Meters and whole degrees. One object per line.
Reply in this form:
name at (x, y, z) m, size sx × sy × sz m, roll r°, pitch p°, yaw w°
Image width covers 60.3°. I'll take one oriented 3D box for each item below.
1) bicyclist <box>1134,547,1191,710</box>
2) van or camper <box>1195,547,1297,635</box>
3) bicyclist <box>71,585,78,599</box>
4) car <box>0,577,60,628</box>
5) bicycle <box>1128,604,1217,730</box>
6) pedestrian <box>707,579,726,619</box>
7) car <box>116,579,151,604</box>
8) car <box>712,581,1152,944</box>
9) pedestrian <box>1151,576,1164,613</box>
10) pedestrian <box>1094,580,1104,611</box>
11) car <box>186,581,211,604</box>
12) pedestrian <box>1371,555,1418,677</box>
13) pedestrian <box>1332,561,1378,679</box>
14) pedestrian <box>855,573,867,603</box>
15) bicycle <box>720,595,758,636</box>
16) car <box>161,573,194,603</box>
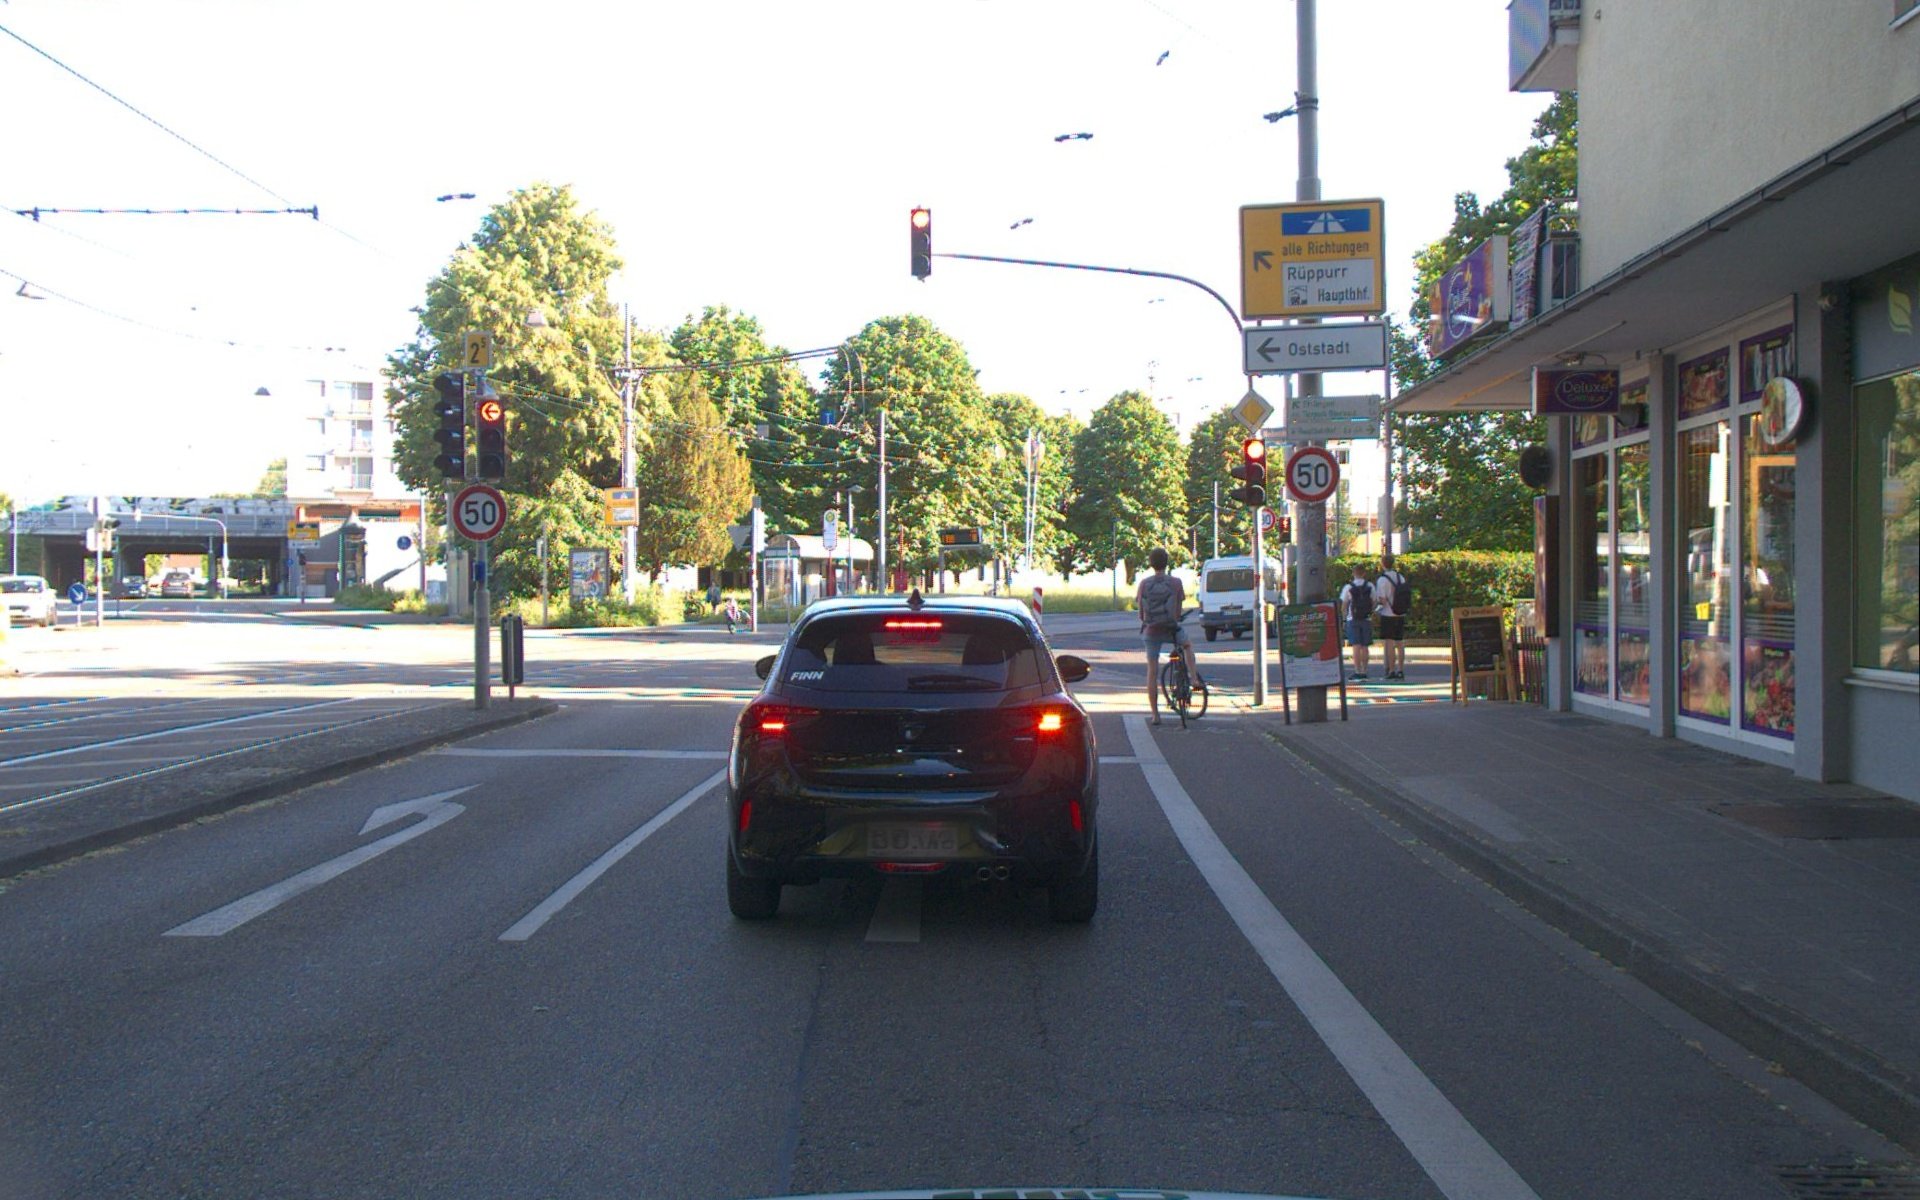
bicyclist at (2.185, 0.301, 17.814) m, size 0.522 × 1.722 × 0.568 m, roll 0°, pitch 0°, yaw 16°
van or camper at (8.085, -0.225, 46.444) m, size 1.987 × 2.351 × 4.540 m, roll 1°, pitch 0°, yaw 20°
bicyclist at (-76.807, -0.691, 143.426) m, size 0.519 × 1.244 × 0.525 m, roll 0°, pitch 0°, yaw -27°
car at (-31.144, 0.073, 54.896) m, size 1.860 × 1.613 × 3.809 m, roll 1°, pitch 0°, yaw -24°
bicycle at (2.323, 0.689, 17.925) m, size 0.737 × 1.256 × 2.017 m, roll 0°, pitch 1°, yaw 14°
pedestrian at (-9.062, -0.043, 61.601) m, size 0.558 × 1.498 × 0.666 m, roll 0°, pitch 0°, yaw 2°
car at (-54.656, -0.570, 109.383) m, size 1.860 × 1.613 × 3.809 m, roll 1°, pitch 0°, yaw -24°
car at (-0.140, 0.648, 8.790) m, size 1.803 × 1.487 × 3.983 m, roll 0°, pitch 1°, yaw -1°
pedestrian at (10.237, -0.298, 85.611) m, size 0.591 × 1.904 × 0.520 m, roll 1°, pitch -1°, yaw 13°
pedestrian at (8.389, -0.270, 99.722) m, size 0.591 × 1.904 × 0.520 m, roll 1°, pitch -1°, yaw 6°
car at (-59.245, -0.564, 128.765) m, size 1.732 × 1.713 × 3.712 m, roll 1°, pitch 0°, yaw -25°
pedestrian at (6.710, 0.245, 25.527) m, size 0.620 × 1.852 × 0.745 m, roll 1°, pitch -1°, yaw 19°
pedestrian at (6.125, 0.308, 25.647) m, size 0.620 × 1.794 × 0.582 m, roll 1°, pitch -1°, yaw 19°
pedestrian at (-6.459, -0.795, 107.400) m, size 0.723 × 1.904 × 0.661 m, roll 1°, pitch -1°, yaw -7°
bicycle at (-6.139, 0.425, 46.046) m, size 0.780 × 1.083 × 2.184 m, roll 0°, pitch 1°, yaw -1°
car at (-52.365, -0.795, 110.737) m, size 1.884 × 1.914 × 4.808 m, roll -1°, pitch 1°, yaw -25°
